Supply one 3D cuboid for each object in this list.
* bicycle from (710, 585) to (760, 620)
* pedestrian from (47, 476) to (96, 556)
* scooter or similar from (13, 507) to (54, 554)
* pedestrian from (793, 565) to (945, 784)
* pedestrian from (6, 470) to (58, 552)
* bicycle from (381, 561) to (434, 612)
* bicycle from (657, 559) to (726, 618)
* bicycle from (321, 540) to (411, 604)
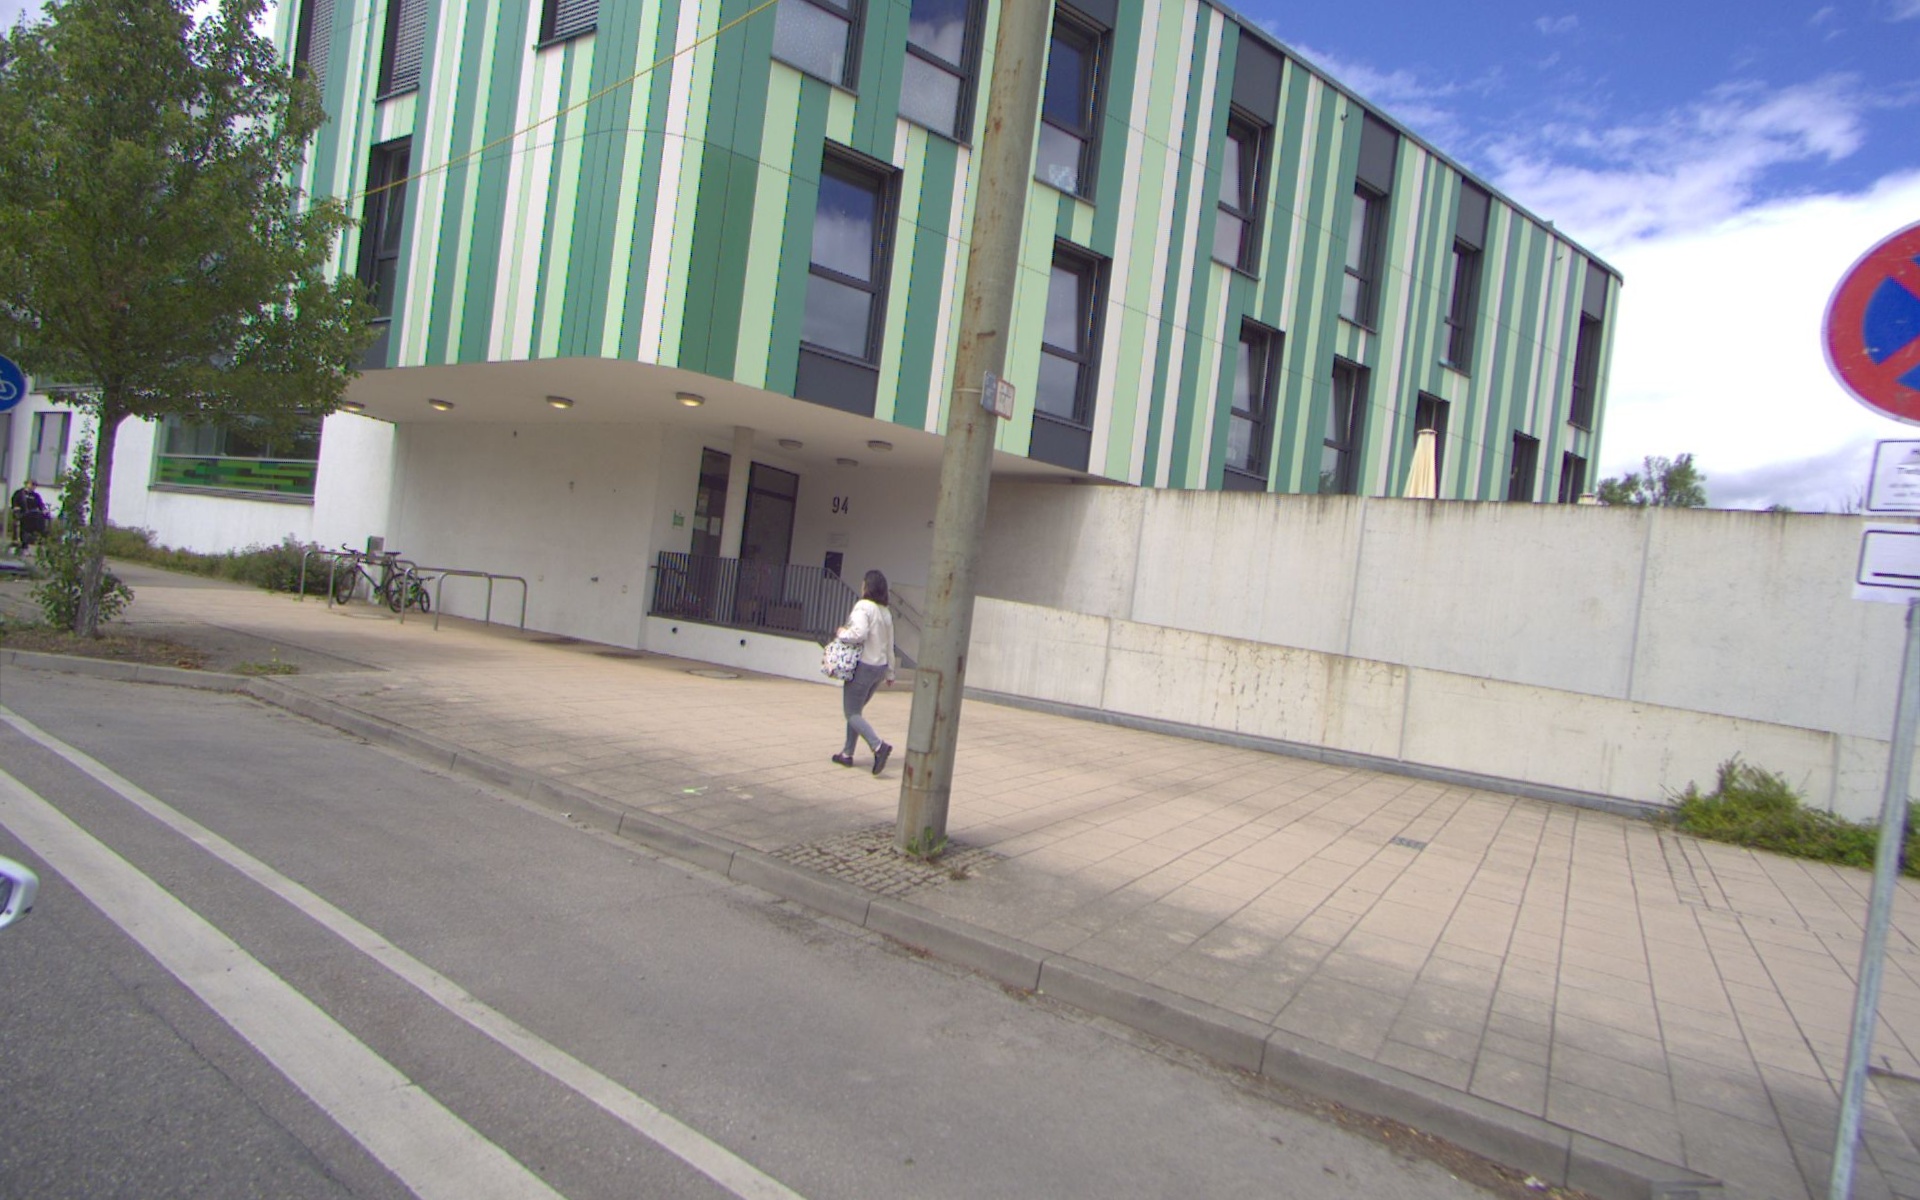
[{"bbox_3d":[-3.592,0.035,16.041,0.787,0.458,0.306,8,2,39],"label":"bicycle"},{"bbox_3d":[-19.602,-1.852,22.205,0.597,1.676,0.550,8,2,32],"label":"pedestrian"},{"bbox_3d":[-19.873,-1.497,21.580,0.670,0.917,0.422,8,2,32],"label":"scooter or similar"},{"bbox_3d":[-0.726,0.572,7.986,0.854,1.571,0.581,8,2,32],"label":"pedestrian"},{"bbox_3d":[-20.266,-1.932,21.980,0.543,1.676,0.605,8,2,32],"label":"pedestrian"},{"bbox_3d":[-9.932,-0.239,18.101,0.301,0.852,1.024,7,1,0],"label":"bicycle"},{"bbox_3d":[-4.358,-0.182,16.382,0.302,0.852,1.021,8,1,38],"label":"bicycle"},{"bbox_3d":[-10.902,-0.491,18.512,0.301,1.059,1.469,8,1,20],"label":"bicycle"}]
